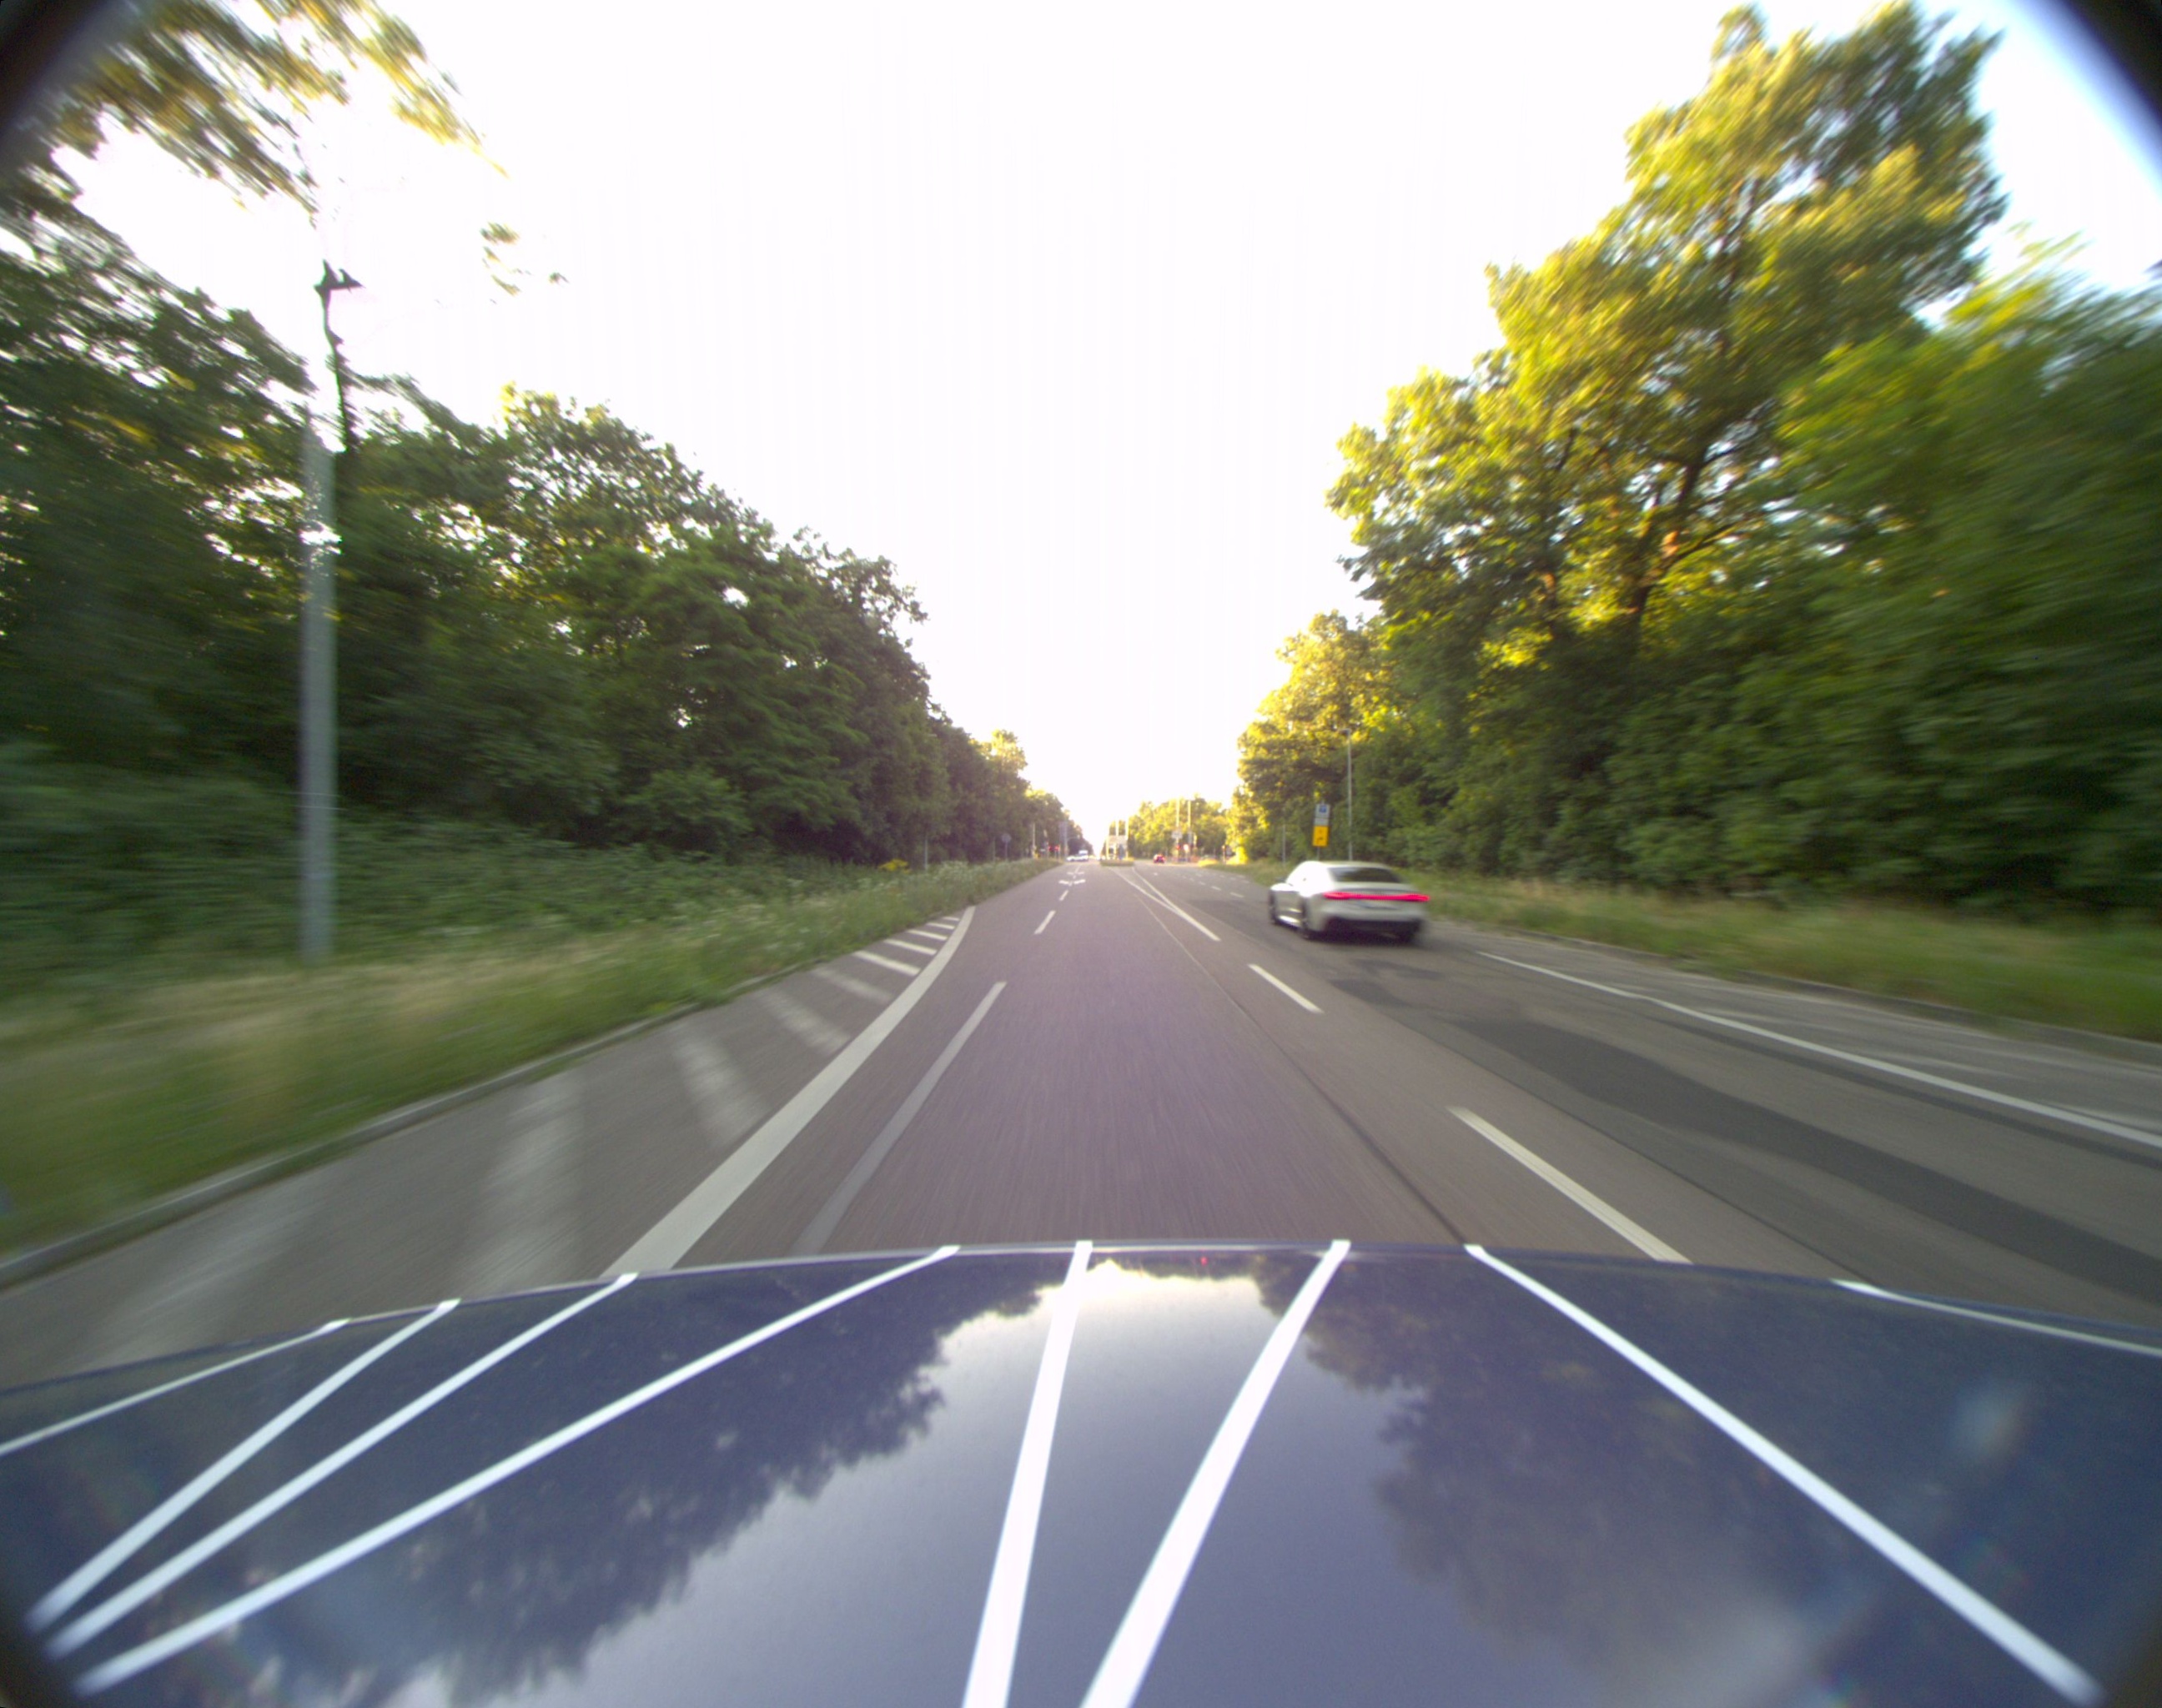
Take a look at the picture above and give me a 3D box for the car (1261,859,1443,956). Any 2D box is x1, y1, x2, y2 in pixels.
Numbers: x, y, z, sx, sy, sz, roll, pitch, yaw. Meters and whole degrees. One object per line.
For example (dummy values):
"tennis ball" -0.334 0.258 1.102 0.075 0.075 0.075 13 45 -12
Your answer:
"car" 4.883 0.872 14.465 2.068 1.427 4.466 1 1 3

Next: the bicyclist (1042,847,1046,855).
"bicyclist" -6.483 -0.499 131.626 0.604 1.447 0.780 0 1 2

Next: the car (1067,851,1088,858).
"car" -0.720 0.180 161.396 4.235 1.447 1.719 0 0 -15

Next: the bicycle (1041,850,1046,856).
"bicycle" -6.505 -0.141 131.774 0.612 0.990 1.691 0 1 2

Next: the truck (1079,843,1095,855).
"truck" 1.518 -1.271 176.475 2.601 2.543 6.026 -2 1 11

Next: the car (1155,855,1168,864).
"car" 14.559 0.987 137.131 1.822 1.525 4.459 2 1 12
